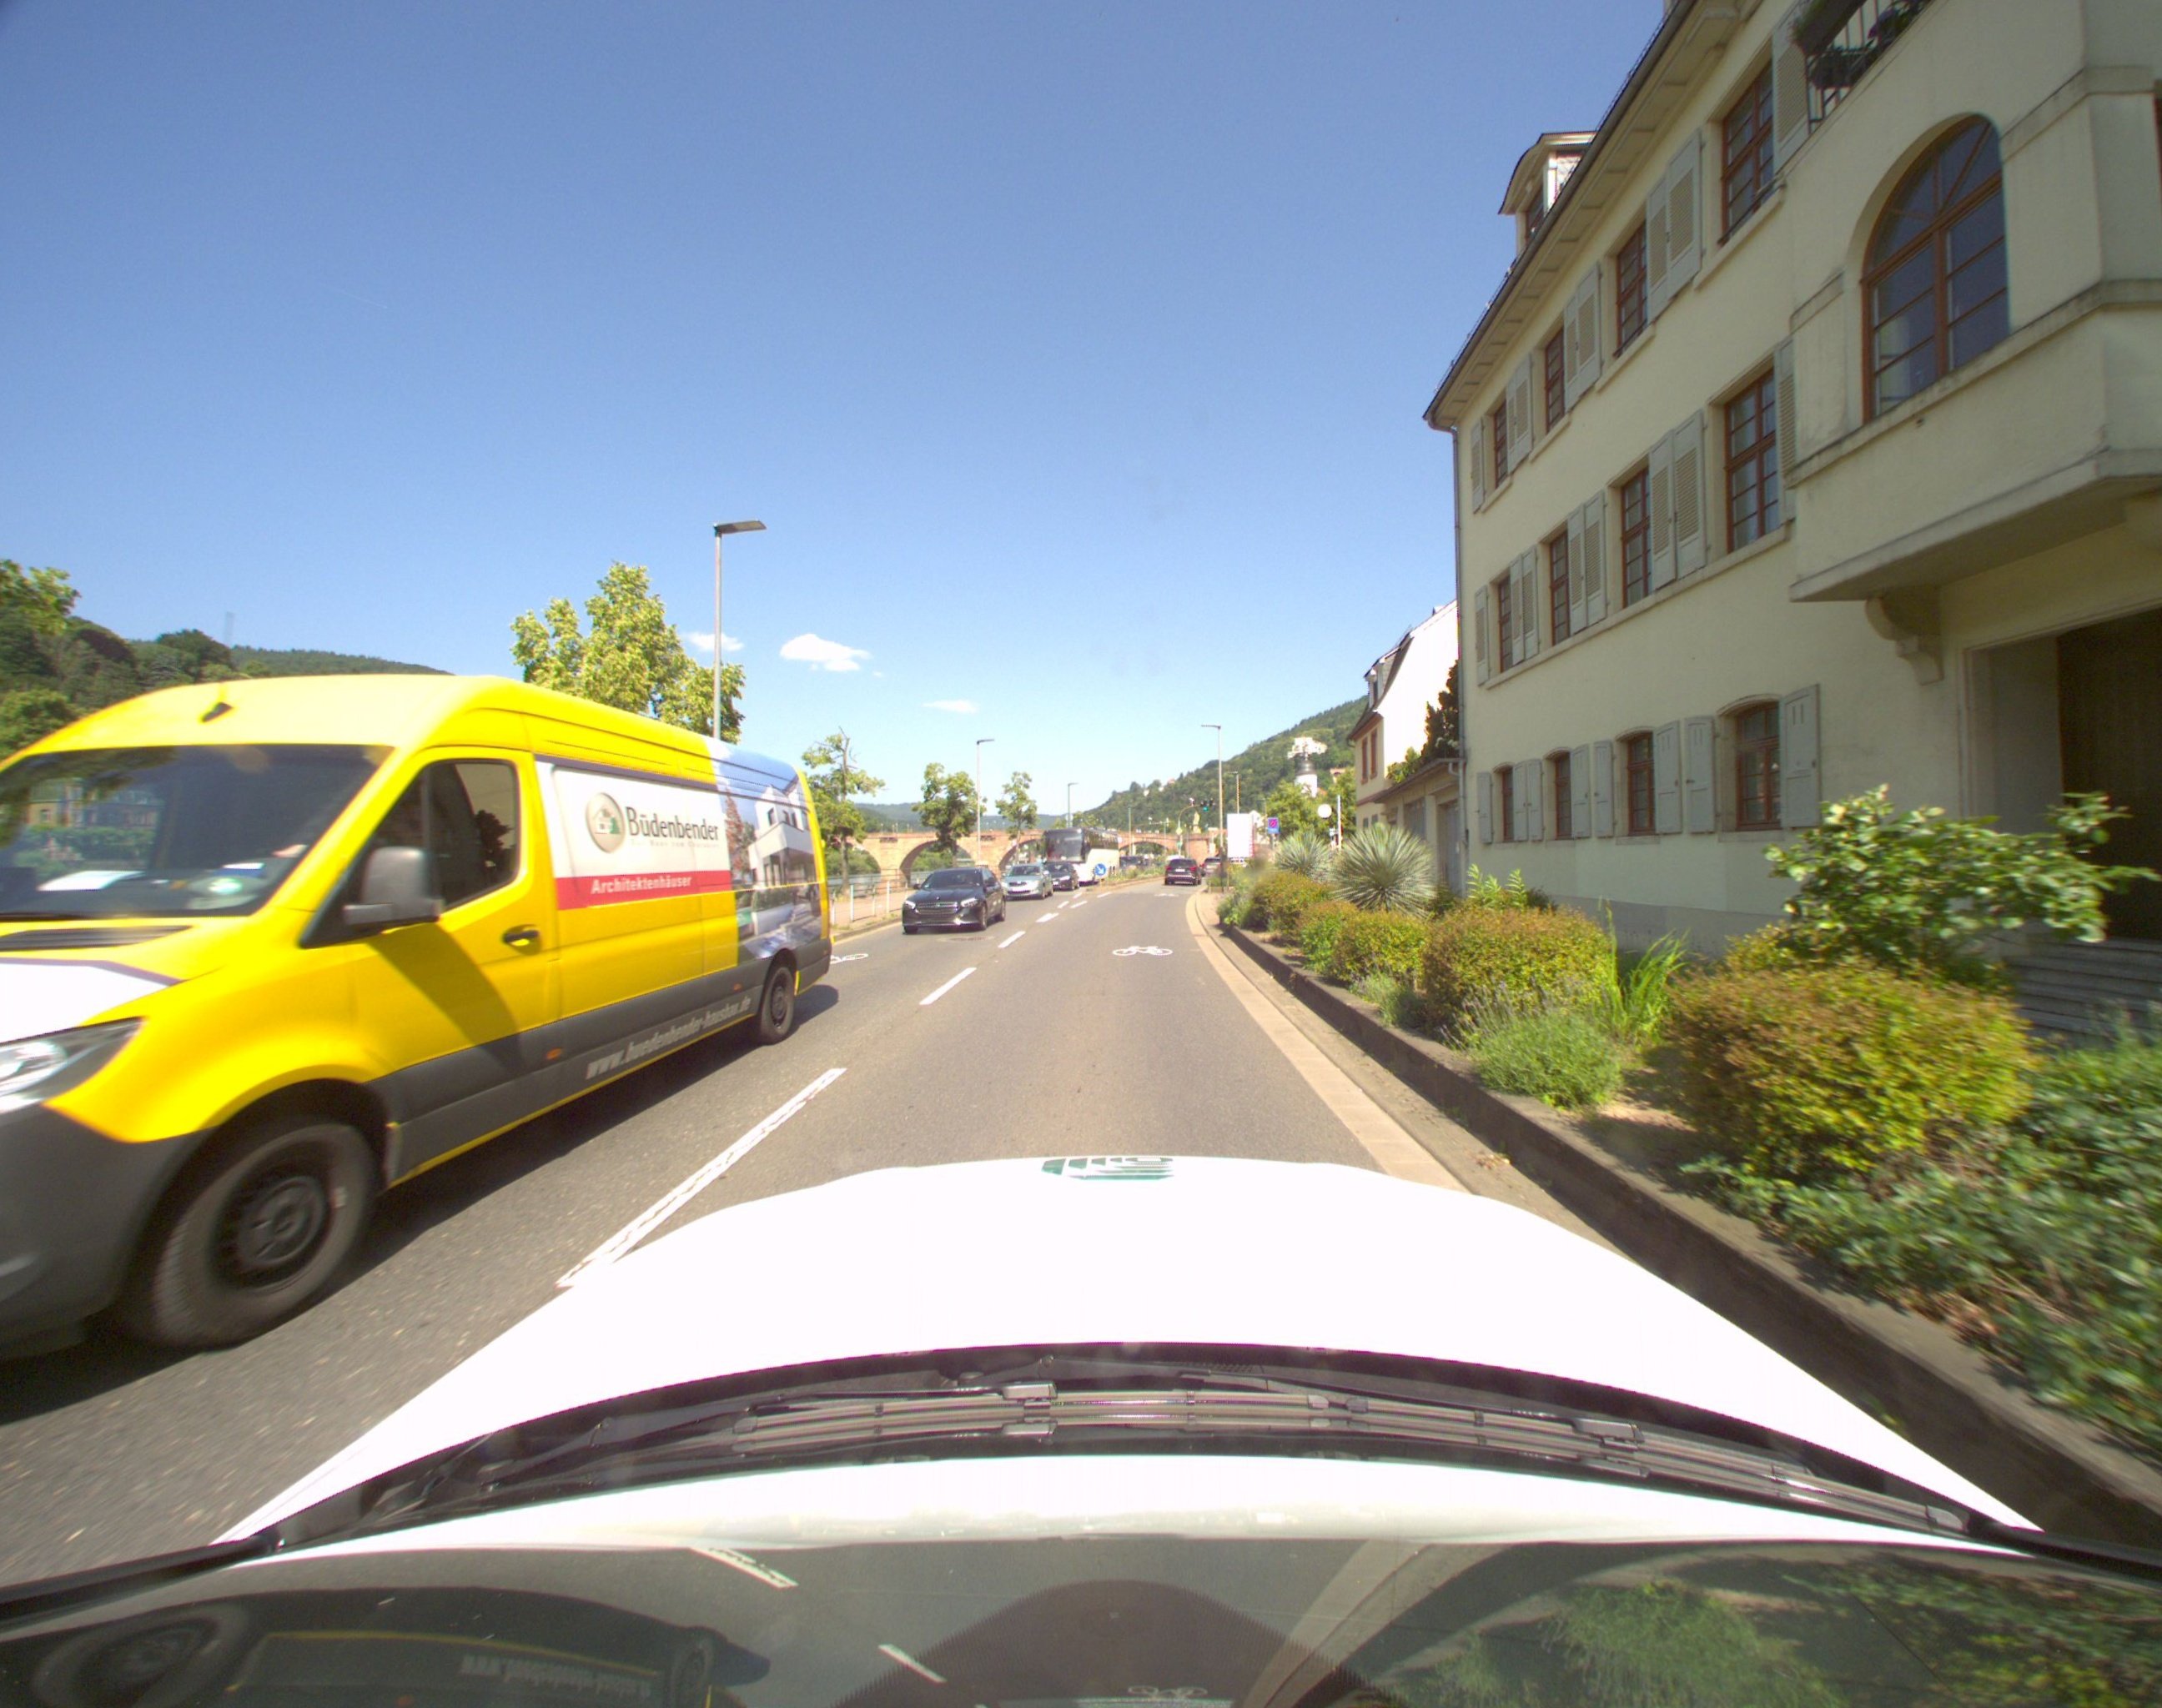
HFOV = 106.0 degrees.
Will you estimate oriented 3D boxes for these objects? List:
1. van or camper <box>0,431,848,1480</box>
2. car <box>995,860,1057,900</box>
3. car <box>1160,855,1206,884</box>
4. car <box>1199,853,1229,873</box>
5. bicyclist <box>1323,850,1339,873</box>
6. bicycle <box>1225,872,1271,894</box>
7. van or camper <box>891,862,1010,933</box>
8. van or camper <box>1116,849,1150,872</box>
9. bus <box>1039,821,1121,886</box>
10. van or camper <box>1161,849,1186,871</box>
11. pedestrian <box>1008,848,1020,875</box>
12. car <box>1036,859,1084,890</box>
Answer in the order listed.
[{"bbox_3d":[-3.644,0.300,5.399,2.080,2.557,7.091,-1,-1,0],"label":"van or camper"},{"bbox_3d":[-2.184,1.023,33.401,1.805,1.428,4.316,-3,0,5],"label":"car"},{"bbox_3d":[5.805,0.853,45.805,1.912,1.553,4.850,0,-1,15],"label":"car"},{"bbox_3d":[10.352,0.708,63.020,1.913,1.461,4.849,-1,0,13],"label":"car"},{"bbox_3d":[17.951,0.547,58.504,0.764,1.583,1.089,-1,-1,1],"label":"bicyclist"},{"bbox_3d":[6.992,1.215,34.120,1.802,0.878,0.502,1,0,3],"label":"bicycle"},{"bbox_3d":[-3.069,0.982,20.161,1.986,1.455,4.684,-3,-1,2],"label":"van or camper"},{"bbox_3d":[4.490,0.570,69.959,1.980,1.873,5.198,-2,-1,13],"label":"van or camper"},{"bbox_3d":[0.234,0.112,51.995,2.614,3.564,13.023,-1,-1,11],"label":"bus"},{"bbox_3d":[11.266,0.794,98.792,1.978,2.450,5.516,-3,-2,15],"label":"van or camper"},{"bbox_3d":[-4.531,0.523,55.135,0.617,1.780,0.663,-1,-1,7],"label":"pedestrian"},{"bbox_3d":[-1.013,1.008,41.184,1.807,1.429,4.200,-2,0,6],"label":"car"}]
